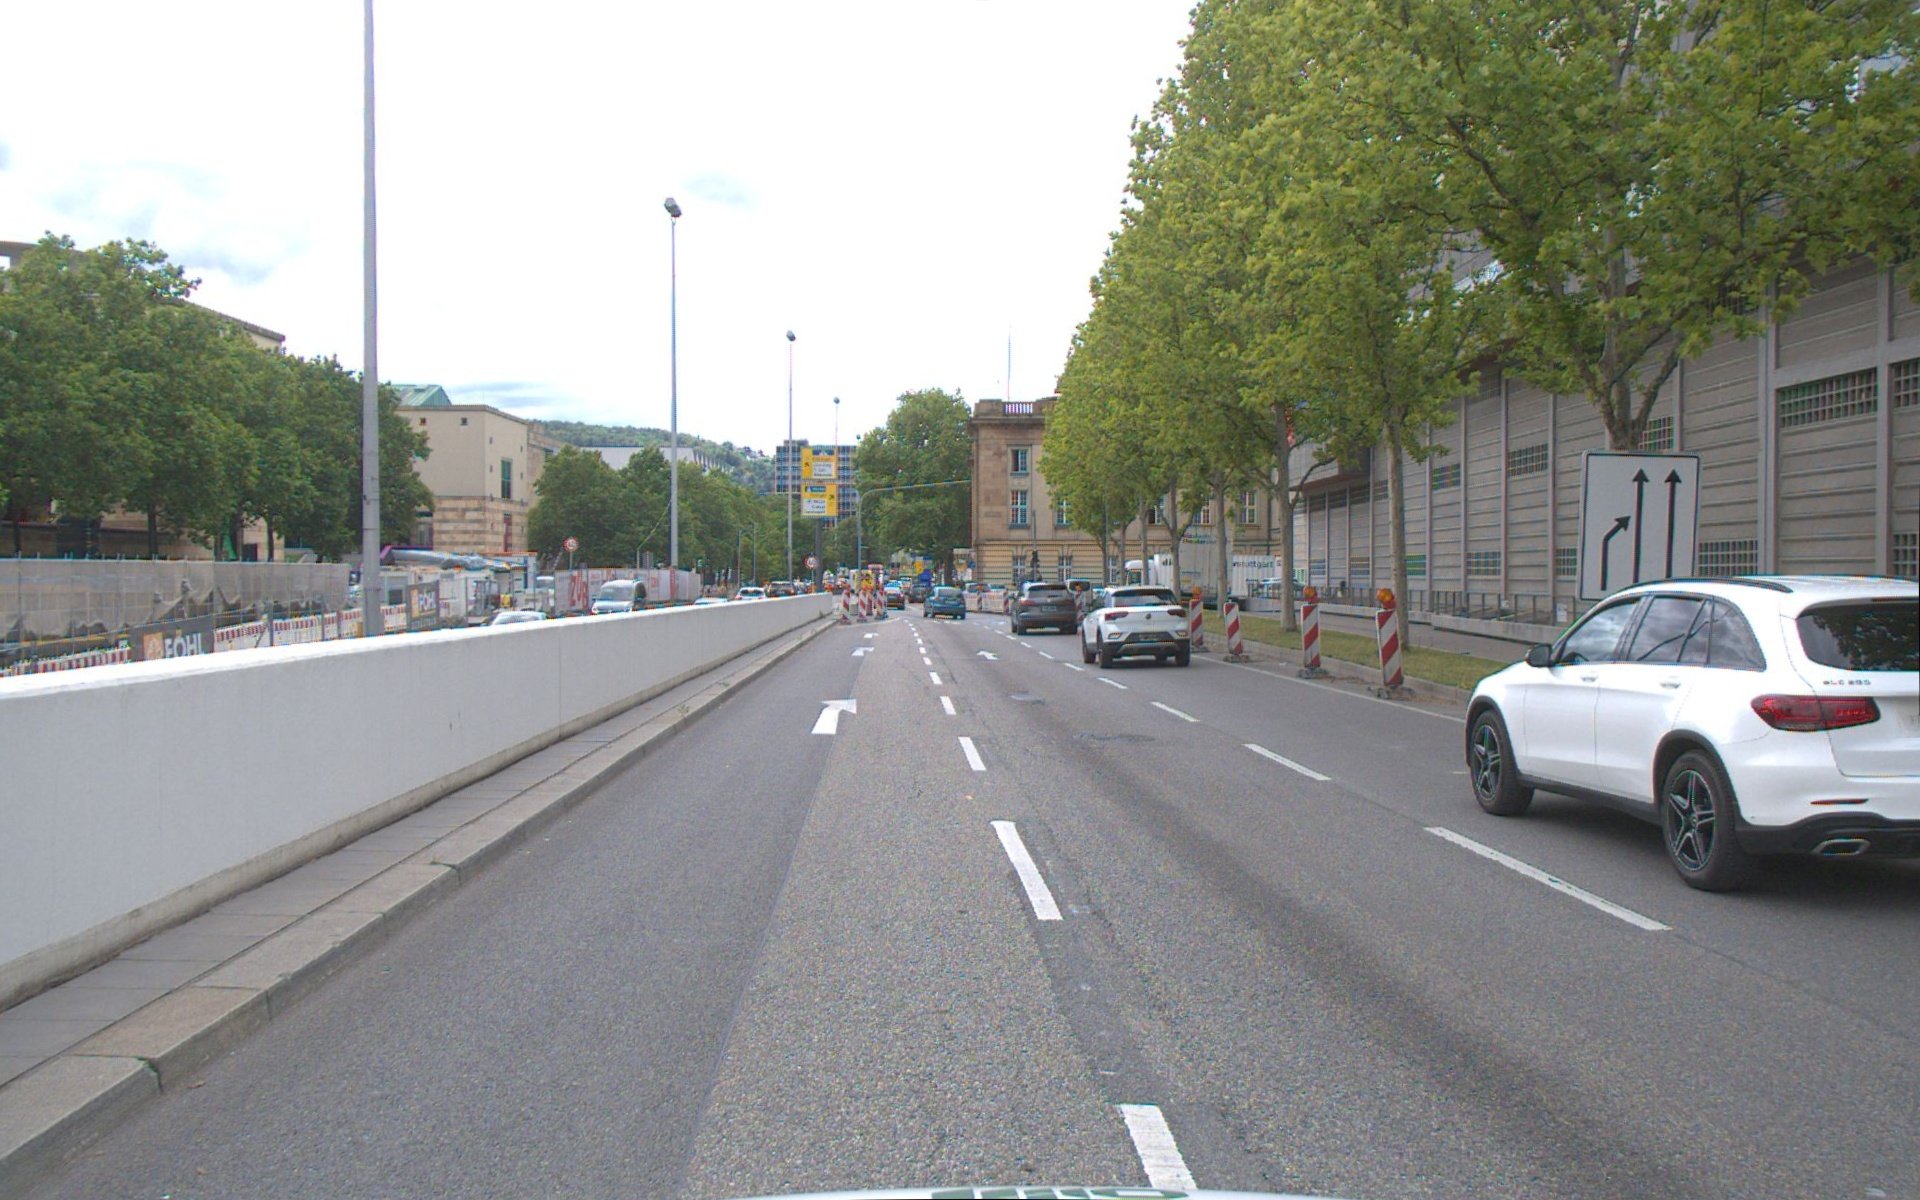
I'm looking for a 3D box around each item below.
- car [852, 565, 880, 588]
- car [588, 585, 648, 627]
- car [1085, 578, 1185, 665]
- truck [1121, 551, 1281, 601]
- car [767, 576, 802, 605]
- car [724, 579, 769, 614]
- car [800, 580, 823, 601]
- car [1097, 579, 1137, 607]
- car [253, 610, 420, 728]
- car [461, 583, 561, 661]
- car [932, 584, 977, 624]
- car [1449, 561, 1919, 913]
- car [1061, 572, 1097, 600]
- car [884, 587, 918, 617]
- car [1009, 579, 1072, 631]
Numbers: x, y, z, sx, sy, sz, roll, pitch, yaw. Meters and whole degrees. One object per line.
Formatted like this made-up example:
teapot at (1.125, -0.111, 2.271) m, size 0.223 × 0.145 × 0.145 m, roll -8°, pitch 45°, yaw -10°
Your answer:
car at (-10.331, -2.593, 181.353) m, size 2.528 × 2.415 × 5.529 m, roll 0°, pitch 1°, yaw 2°
car at (-13.805, 0.213, 66.940) m, size 1.715 × 1.595 × 3.376 m, roll -2°, pitch 1°, yaw -1°
car at (3.465, 0.381, 33.305) m, size 1.714 × 1.595 × 4.333 m, roll -1°, pitch 1°, yaw 2°
truck at (15.292, -1.508, 105.275) m, size 9.826 × 3.104 × 2.568 m, roll 0°, pitch 0°, yaw -2°
car at (-10.300, -0.561, 97.141) m, size 1.715 × 1.595 × 3.376 m, roll -2°, pitch 1°, yaw -1°
car at (-10.179, -0.197, 79.128) m, size 1.715 × 1.595 × 3.376 m, roll 1°, pitch 1°, yaw -1°
car at (-11.540, -0.740, 128.760) m, size 1.716 × 1.595 × 4.327 m, roll 0°, pitch 0°, yaw -5°
car at (9.179, -0.408, 97.032) m, size 1.819 × 1.595 × 4.330 m, roll 1°, pitch 0°, yaw -2°
car at (-12.490, 1.317, 33.400) m, size 1.953 × 2.048 × 3.999 m, roll 0°, pitch 2°, yaw -2°
car at (-13.053, 0.586, 48.347) m, size 1.953 × 2.048 × 3.999 m, roll 0°, pitch 2°, yaw -2°
car at (-0.237, 0.159, 78.309) m, size 1.785 × 1.771 × 4.482 m, roll 0°, pitch 1°, yaw 4°
car at (4.704, 0.656, 10.201) m, size 1.776 × 1.671 × 4.548 m, roll 0°, pitch 0°, yaw -4°
car at (6.974, -0.825, 97.298) m, size 1.715 × 1.595 × 4.330 m, roll 1°, pitch 0°, yaw -2°
car at (-3.717, 0.105, 105.029) m, size 1.785 × 1.771 × 4.482 m, roll 0°, pitch 1°, yaw 3°
car at (2.594, 0.133, 53.989) m, size 1.786 × 1.595 × 4.480 m, roll -2°, pitch 0°, yaw 0°
